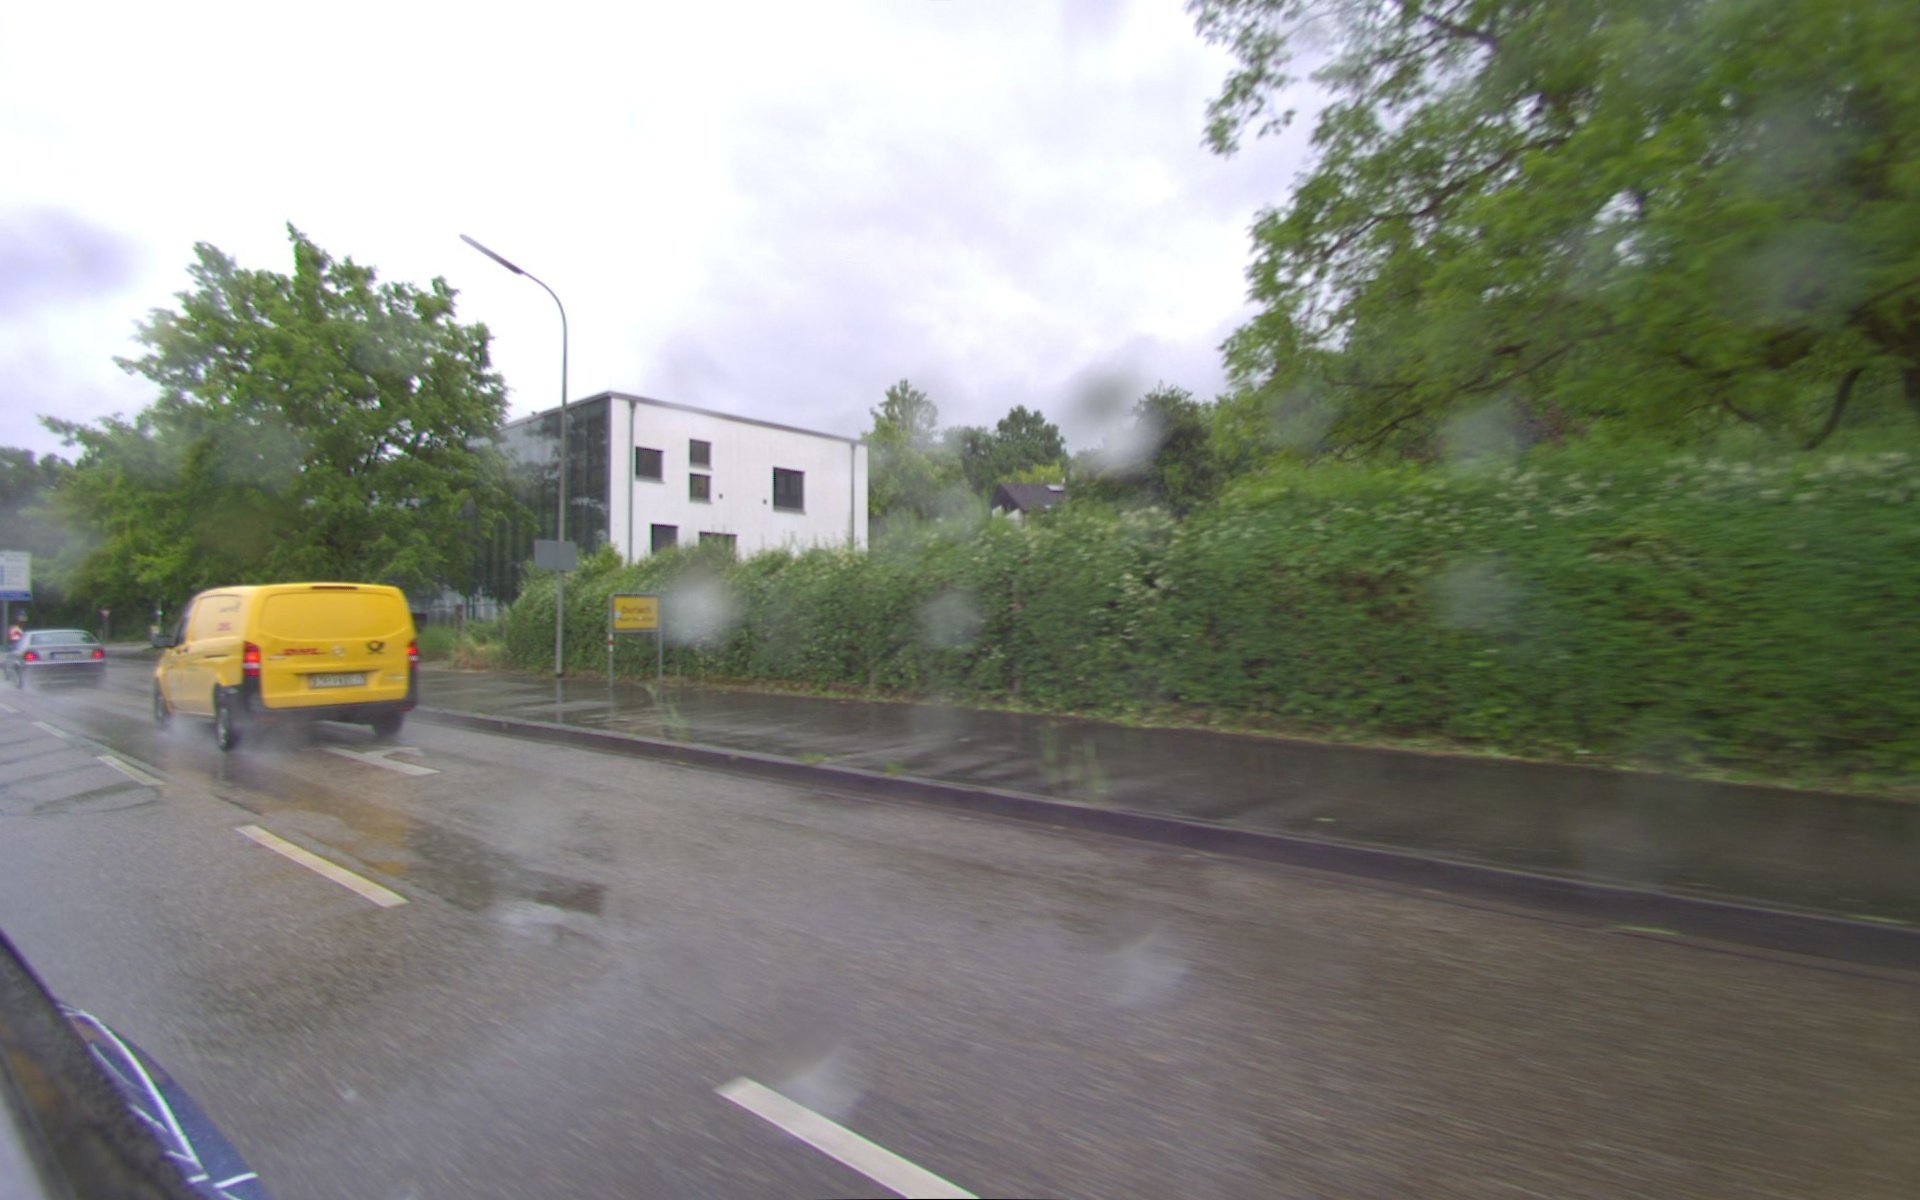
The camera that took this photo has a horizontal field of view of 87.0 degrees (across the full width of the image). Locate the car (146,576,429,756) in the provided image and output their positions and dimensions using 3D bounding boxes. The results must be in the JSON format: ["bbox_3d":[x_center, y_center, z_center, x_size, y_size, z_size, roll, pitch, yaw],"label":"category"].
[{"bbox_3d":[-8.799,0.749,13.035,5.036,1.886,1.916,-2,-2,43],"label":"car"}]

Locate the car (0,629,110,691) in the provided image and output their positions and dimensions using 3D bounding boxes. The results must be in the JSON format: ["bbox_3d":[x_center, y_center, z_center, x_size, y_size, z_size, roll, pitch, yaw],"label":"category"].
[{"bbox_3d":[-22.291,1.415,24.801,3.903,1.360,1.684,-2,-2,41],"label":"car"}]
